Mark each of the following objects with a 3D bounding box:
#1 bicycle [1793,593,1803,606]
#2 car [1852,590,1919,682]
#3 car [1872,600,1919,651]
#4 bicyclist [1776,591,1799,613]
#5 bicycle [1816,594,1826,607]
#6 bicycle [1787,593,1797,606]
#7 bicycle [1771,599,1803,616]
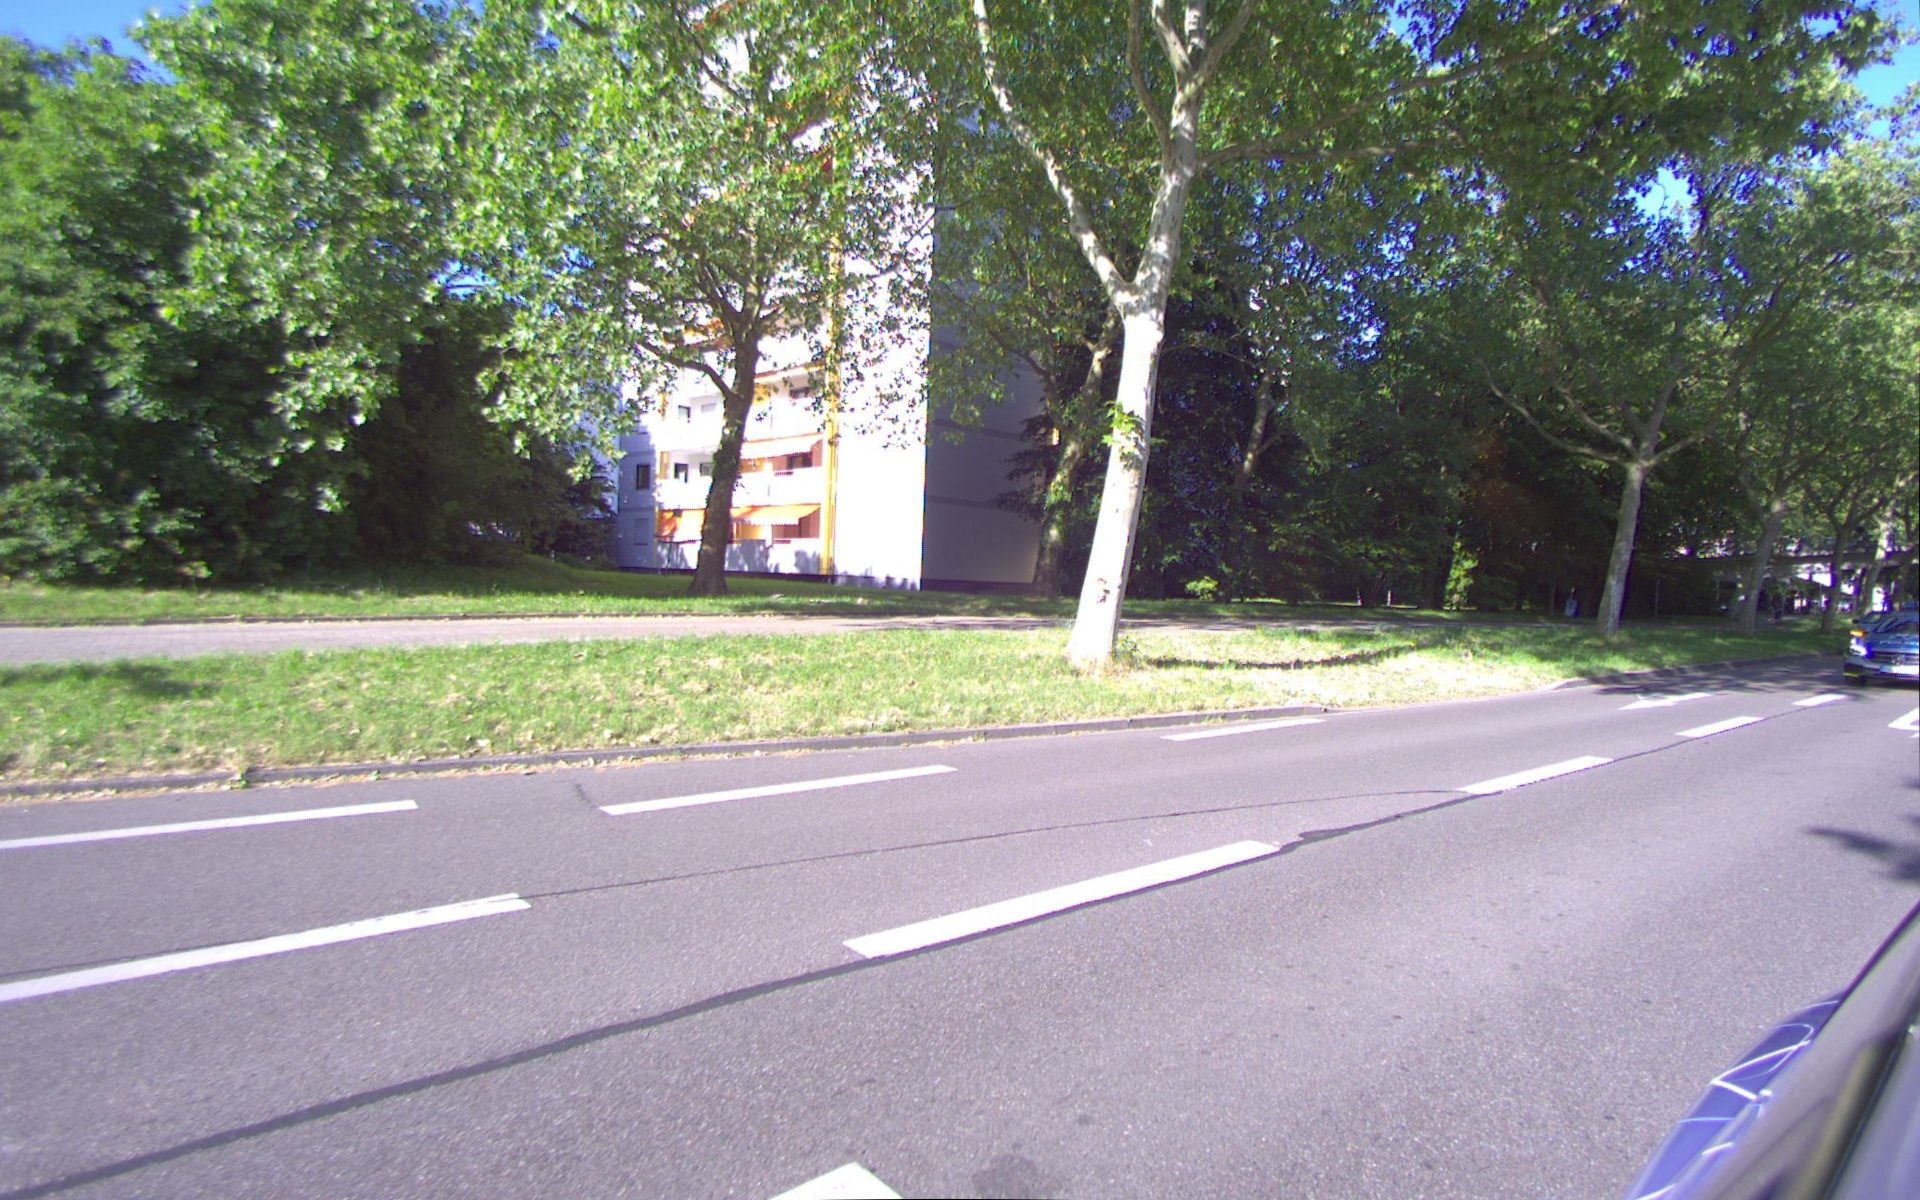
[{"bbox_3d":[87.208,-0.064,105.299,1.775,1.269,0.576,0,1,-42],"label":"bicycle"},{"bbox_3d":[19.128,0.676,19.561,4.416,1.653,1.899,1,0,-36],"label":"car"},{"bbox_3d":[30.196,0.803,31.799,4.027,1.502,1.779,1,0,-40],"label":"car"},{"bbox_3d":[64.278,0.151,78.599,0.799,1.652,0.958,3,2,-4],"label":"bicyclist"},{"bbox_3d":[89.748,0.036,105.488,1.775,1.269,0.576,0,1,-42],"label":"bicycle"},{"bbox_3d":[82.713,-0.044,100.595,1.775,1.269,0.576,0,1,-42],"label":"bicycle"},{"bbox_3d":[64.248,0.571,78.639,0.799,1.160,1.839,3,3,-4],"label":"bicycle"}]
